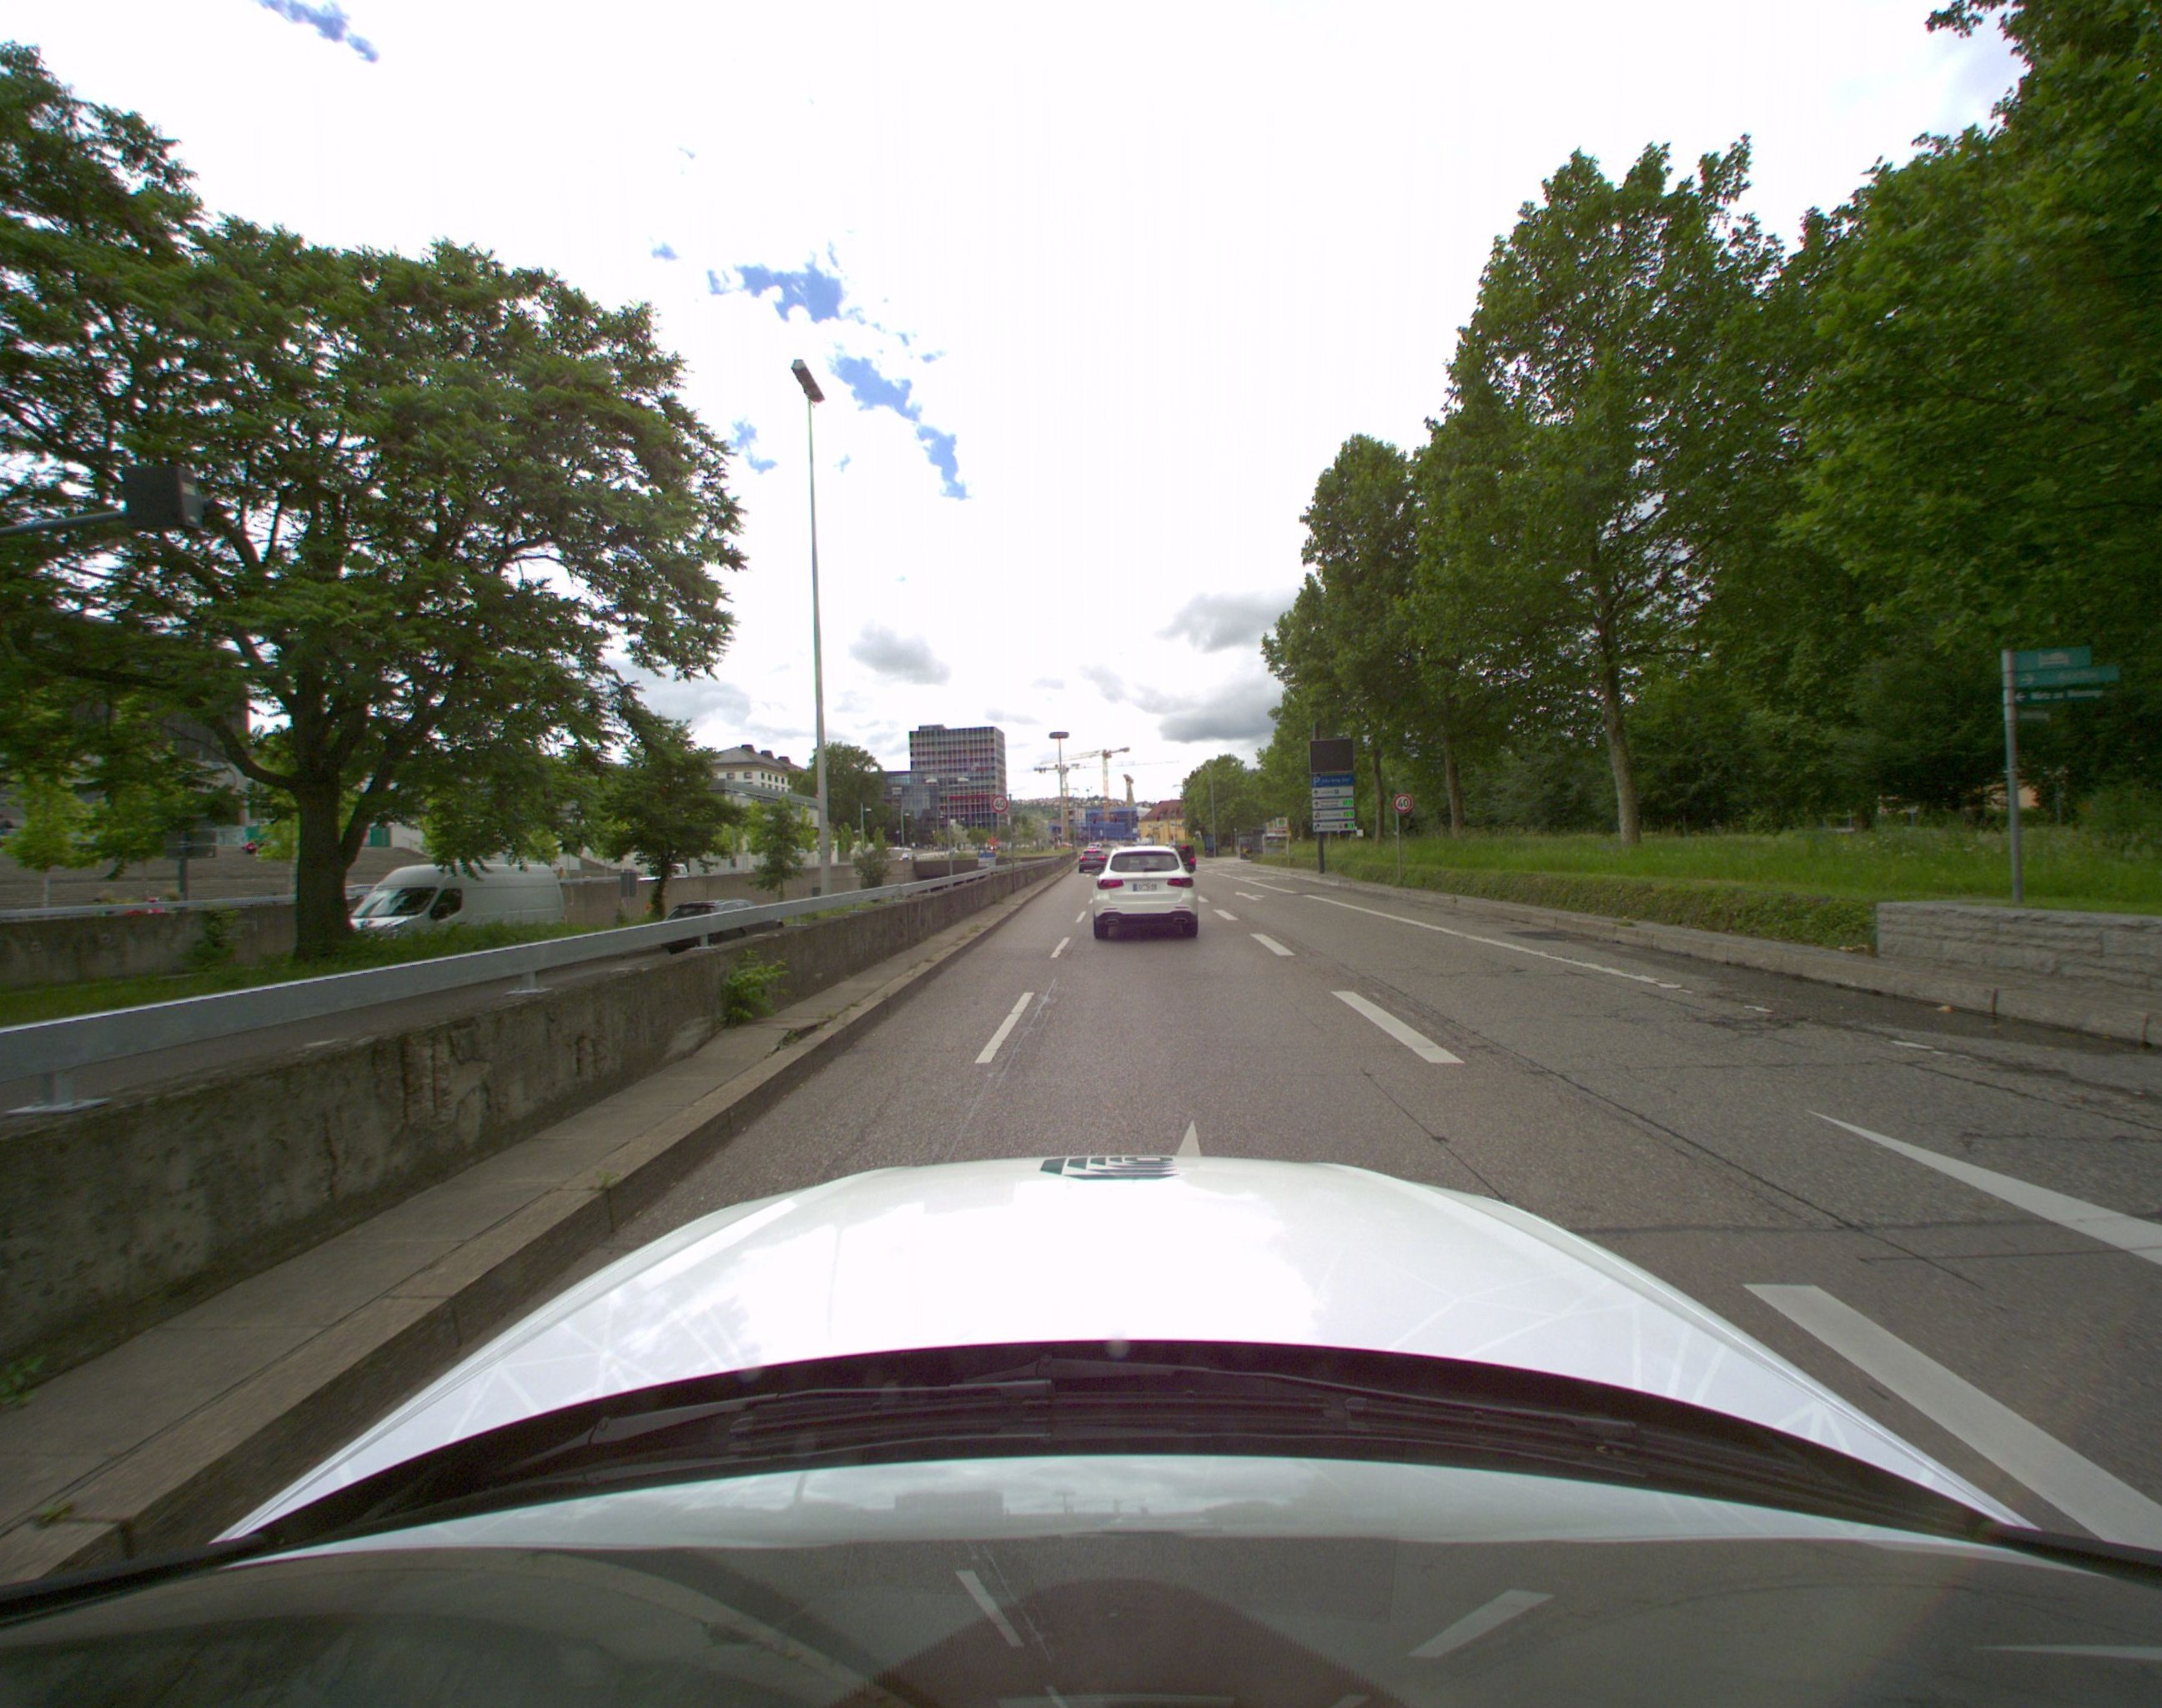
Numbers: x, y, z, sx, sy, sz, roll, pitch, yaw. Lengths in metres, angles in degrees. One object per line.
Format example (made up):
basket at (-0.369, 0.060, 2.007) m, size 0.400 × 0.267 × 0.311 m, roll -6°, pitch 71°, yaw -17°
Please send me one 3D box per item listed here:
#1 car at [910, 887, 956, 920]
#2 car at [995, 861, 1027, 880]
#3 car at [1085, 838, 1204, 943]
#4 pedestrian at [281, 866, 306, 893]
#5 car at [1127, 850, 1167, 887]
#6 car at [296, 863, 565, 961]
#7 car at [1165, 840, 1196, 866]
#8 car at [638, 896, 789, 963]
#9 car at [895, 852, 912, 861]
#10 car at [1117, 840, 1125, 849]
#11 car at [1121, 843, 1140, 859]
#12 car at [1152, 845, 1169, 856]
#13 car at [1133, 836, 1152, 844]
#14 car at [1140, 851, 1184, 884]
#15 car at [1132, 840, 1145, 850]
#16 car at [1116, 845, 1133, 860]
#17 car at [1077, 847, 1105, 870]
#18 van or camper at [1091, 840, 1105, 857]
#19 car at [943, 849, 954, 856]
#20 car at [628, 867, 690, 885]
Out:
car at (-7.564, 2.487, 41.798) m, size 1.621 × 1.509 × 3.540 m, roll -1°, pitch -1°, yaw 1°
car at (-5.048, 1.153, 58.962) m, size 1.712 × 1.292 × 4.004 m, roll 0°, pitch 0°, yaw 3°
car at (1.115, 0.617, 15.534) m, size 1.933 × 1.684 × 4.001 m, roll -2°, pitch -1°, yaw 2°
pedestrian at (-49.756, 1.604, 51.458) m, size 0.639 × 1.640 × 0.859 m, roll 4°, pitch -1°, yaw 1°
car at (2.976, 0.642, 37.322) m, size 1.666 × 1.627 × 4.002 m, roll 0°, pitch 0°, yaw 2°
car at (-16.638, 1.347, 21.459) m, size 1.968 × 2.165 × 6.214 m, roll -1°, pitch -1°, yaw 1°
car at (7.608, -0.032, 62.496) m, size 1.970 × 1.893 × 4.708 m, roll 0°, pitch -1°, yaw 2°
car at (-10.028, 1.995, 22.713) m, size 1.805 × 1.460 × 4.865 m, roll -1°, pitch -1°, yaw 2°
car at (-26.142, 0.403, 119.919) m, size 1.828 × 1.360 × 3.863 m, roll 0°, pitch -1°, yaw -4°
car at (9.520, -2.205, 192.229) m, size 1.794 × 2.014 × 4.000 m, roll 0°, pitch -1°, yaw 1°
car at (5.424, -0.321, 90.008) m, size 1.986 × 1.662 × 4.000 m, roll 0°, pitch -1°, yaw 1°
car at (12.368, -0.555, 126.775) m, size 1.989 × 1.618 × 3.995 m, roll 0°, pitch -1°, yaw -3°
car at (17.774, -4.032, 235.265) m, size 5.222 × 2.060 × 1.885 m, roll 0°, pitch -1°, yaw 42°
car at (4.131, 0.666, 42.185) m, size 1.916 × 1.602 × 4.001 m, roll -1°, pitch 0°, yaw 1°
car at (9.017, -1.396, 126.985) m, size 1.714 × 1.584 × 3.999 m, roll 0°, pitch 0°, yaw 0°
car at (5.407, -0.194, 101.412) m, size 1.986 × 1.781 × 4.000 m, roll 0°, pitch -1°, yaw 1°
car at (0.750, 0.306, 58.863) m, size 1.916 × 1.602 × 4.001 m, roll -1°, pitch 0°, yaw 1°
van or camper at (2.515, -0.724, 119.446) m, size 1.916 × 2.320 × 4.000 m, roll -1°, pitch -2°, yaw 1°
car at (-28.496, -0.348, 175.647) m, size 1.803 × 1.427 × 3.707 m, roll 0°, pitch -1°, yaw 0°
car at (-29.349, 1.516, 56.853) m, size 1.803 × 1.119 × 4.807 m, roll 0°, pitch -1°, yaw 0°
